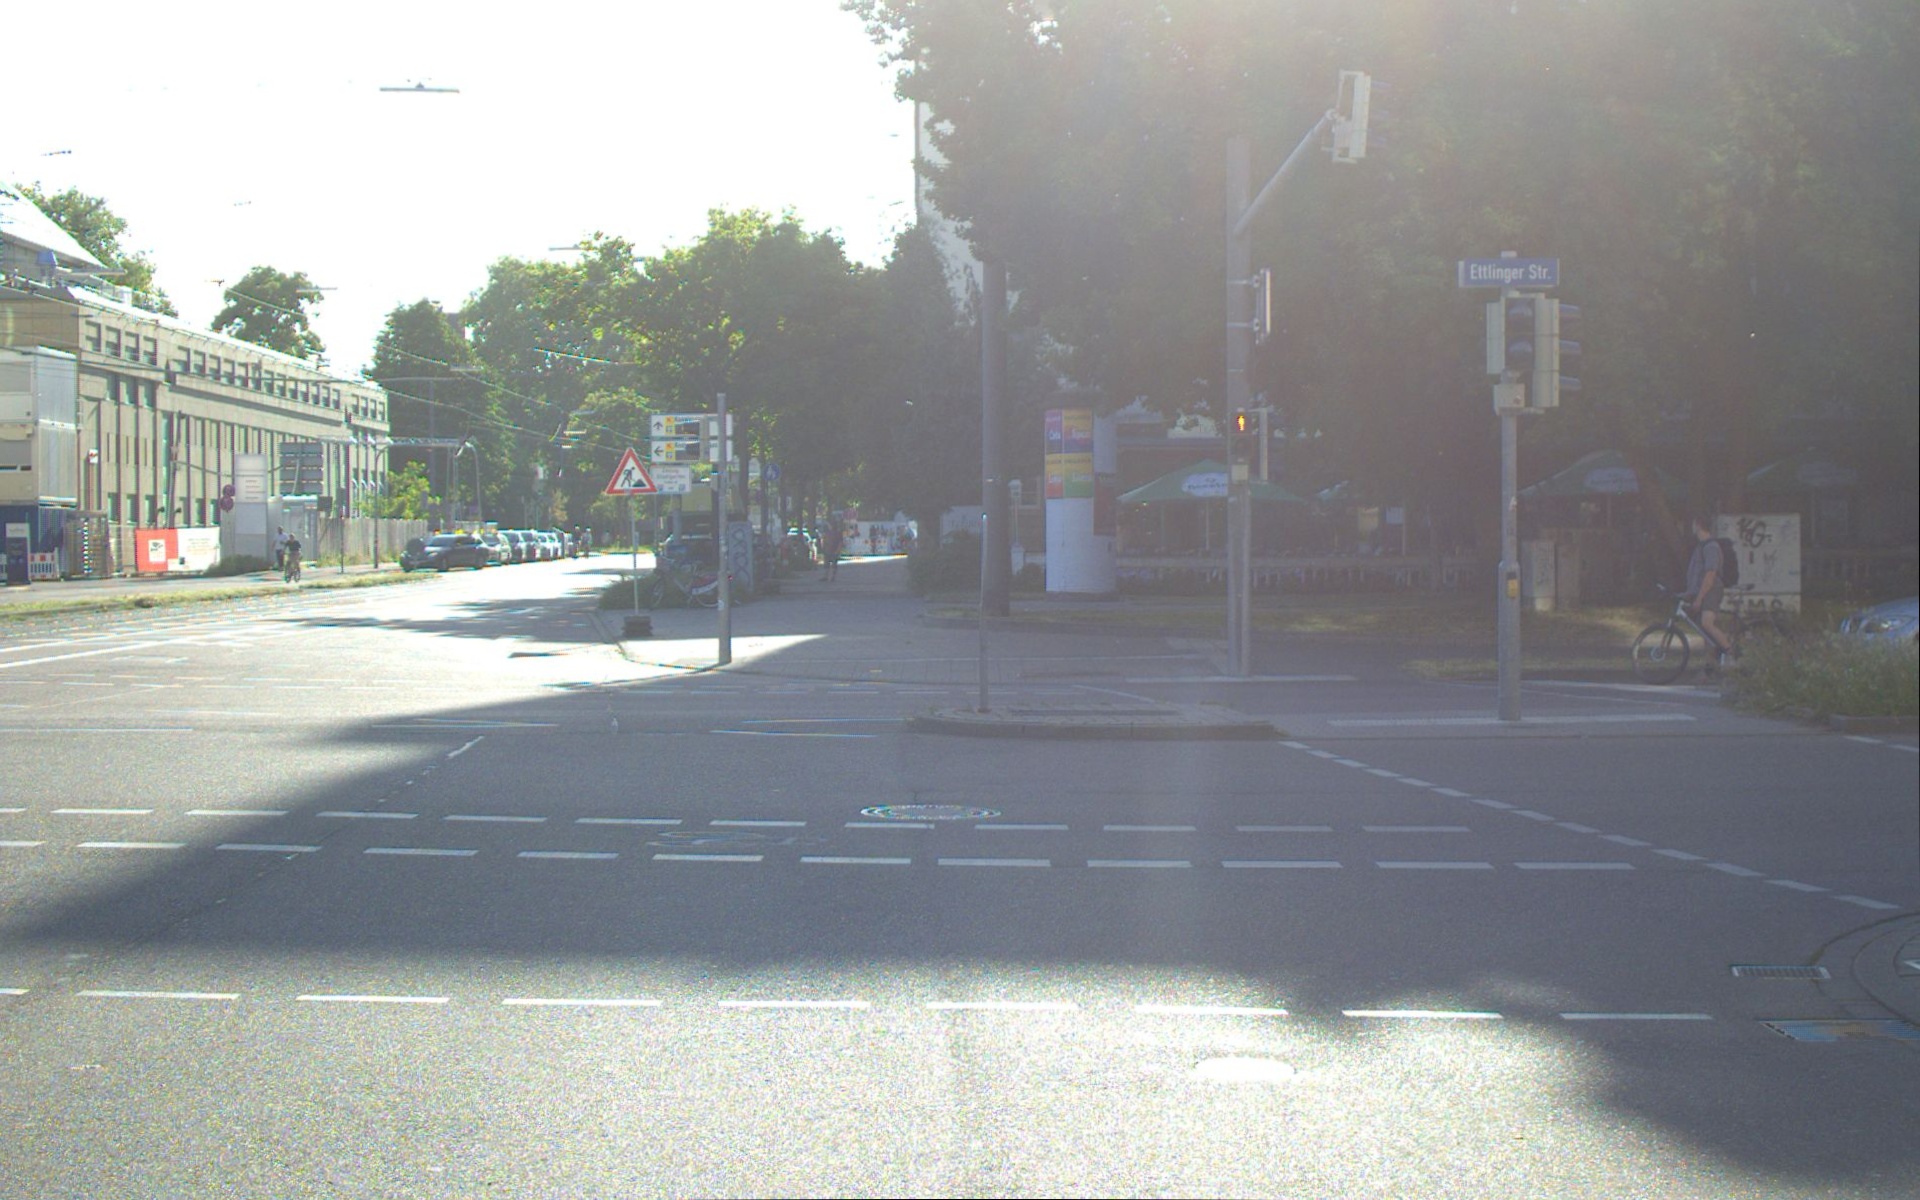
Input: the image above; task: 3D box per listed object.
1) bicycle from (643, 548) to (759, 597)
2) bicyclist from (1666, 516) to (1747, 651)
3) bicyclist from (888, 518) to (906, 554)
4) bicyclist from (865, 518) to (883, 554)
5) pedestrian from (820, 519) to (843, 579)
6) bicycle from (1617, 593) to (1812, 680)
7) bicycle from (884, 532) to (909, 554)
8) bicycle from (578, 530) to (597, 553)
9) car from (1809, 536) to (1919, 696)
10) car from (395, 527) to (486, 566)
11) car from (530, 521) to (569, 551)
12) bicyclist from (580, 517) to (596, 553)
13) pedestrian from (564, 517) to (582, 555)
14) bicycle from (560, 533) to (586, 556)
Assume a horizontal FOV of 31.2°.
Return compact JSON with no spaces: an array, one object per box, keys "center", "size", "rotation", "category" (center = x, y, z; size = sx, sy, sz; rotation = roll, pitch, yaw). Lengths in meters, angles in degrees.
[{"center":[-5.068,-0.542,67.220],"size":[2.244,0.937,0.654],"rotation":[-1,1,-5],"category":"bicycle"},{"center":[7.890,-0.178,36.375],"size":[0.747,1.401,0.702],"rotation":[1,0,6],"category":"bicyclist"},{"center":[-3.531,-3.594,192.924],"size":[0.890,2.007,0.749],"rotation":[1,0,-12],"category":"bicyclist"},{"center":[-4.832,-3.610,192.737],"size":[0.890,2.007,0.749],"rotation":[1,0,-12],"category":"bicyclist"},{"center":[-3.661,-1.455,97.687],"size":[0.576,1.683,0.585],"rotation":[-1,1,-8],"category":"pedestrian"},{"center":[7.972,0.385,36.376],"size":[1.944,0.886,0.718],"rotation":[1,0,6],"category":"bicycle"},{"center":[-3.597,-3.201,193.105],"size":[0.890,1.215,2.794],"rotation":[1,1,-12],"category":"bicycle"},{"center":[-20.465,-3.221,188.944],"size":[0.750,1.201,3.108],"rotation":[1,1,-2],"category":"bicycle"},{"center":[10.836,0.171,33.569],"size":[4.576,1.511,2.000],"rotation":[1,0,0],"category":"car"},{"center":[-21.372,-2.212,141.547],"size":[1.995,1.593,3.996],"rotation":[0,1,21],"category":"car"},{"center":[-23.247,-3.631,194.688],"size":[1.993,1.638,4.001],"rotation":[-1,1,-4],"category":"car"},{"center":[-20.451,-3.568,188.821],"size":[0.750,1.913,1.215],"rotation":[1,0,-2],"category":"bicyclist"},{"center":[-20.743,-3.431,184.381],"size":[0.751,2.056,1.050],"rotation":[1,0,5],"category":"pedestrian"},{"center":[-20.743,-2.992,184.319],"size":[0.751,1.201,3.107],"rotation":[1,1,5],"category":"bicycle"}]
